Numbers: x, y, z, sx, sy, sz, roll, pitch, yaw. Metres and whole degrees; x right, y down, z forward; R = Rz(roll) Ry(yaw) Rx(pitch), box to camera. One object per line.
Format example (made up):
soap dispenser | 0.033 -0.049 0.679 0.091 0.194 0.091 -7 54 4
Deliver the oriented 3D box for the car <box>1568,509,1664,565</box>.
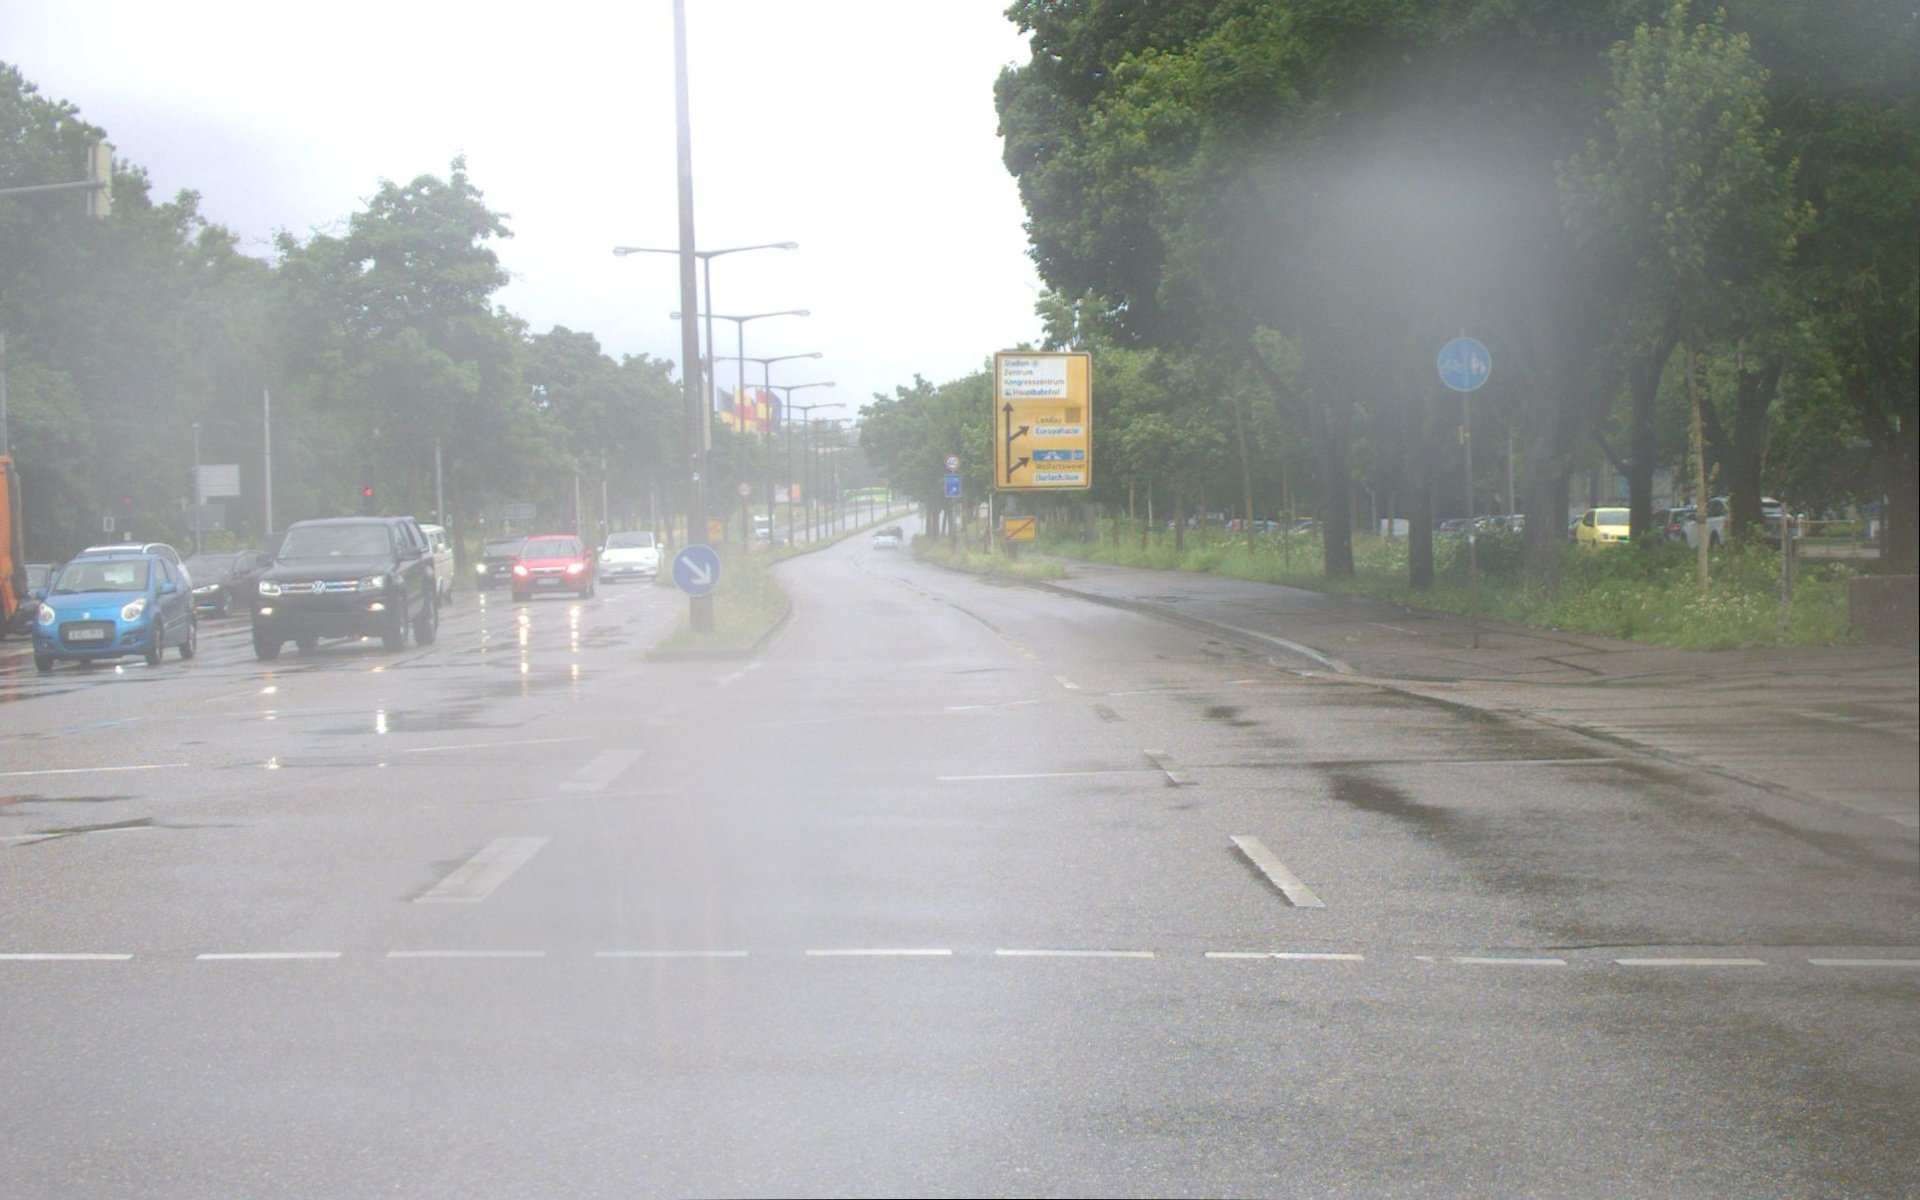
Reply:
car | 17.967 -1.721 94.328 1.637 1.481 4.073 1 1 -3

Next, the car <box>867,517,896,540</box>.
car | -5.433 -4.952 237.191 1.907 1.509 4.000 -1 1 0

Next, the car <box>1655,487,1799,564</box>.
car | 18.003 -1.739 80.893 1.993 1.711 4.879 -2 1 -3

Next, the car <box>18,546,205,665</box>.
car | -11.222 0.037 45.696 1.641 1.422 4.001 -3 1 -3

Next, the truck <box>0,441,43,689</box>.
truck | -17.680 -0.570 55.155 3.384 4.153 10.407 1 1 -1

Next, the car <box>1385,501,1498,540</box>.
car | 21.171 -3.496 151.220 4.569 1.639 2.000 0 1 -6

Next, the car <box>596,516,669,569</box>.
car | -10.419 -1.852 109.726 1.961 1.611 4.698 -2 1 -1

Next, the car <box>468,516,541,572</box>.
car | -14.390 -1.788 108.811 1.707 1.636 4.331 -3 1 -1

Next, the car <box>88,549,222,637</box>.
car | -17.464 -0.179 74.768 1.993 1.821 4.772 1 1 -3

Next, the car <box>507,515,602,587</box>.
car | -9.564 -1.144 81.431 1.801 1.564 4.429 -3 1 -2

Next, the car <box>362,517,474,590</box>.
car | -12.546 -1.098 79.790 1.894 1.605 4.500 -1 1 -1

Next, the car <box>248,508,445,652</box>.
car | -8.256 -0.310 46.677 1.805 1.767 5.090 -3 1 -1
